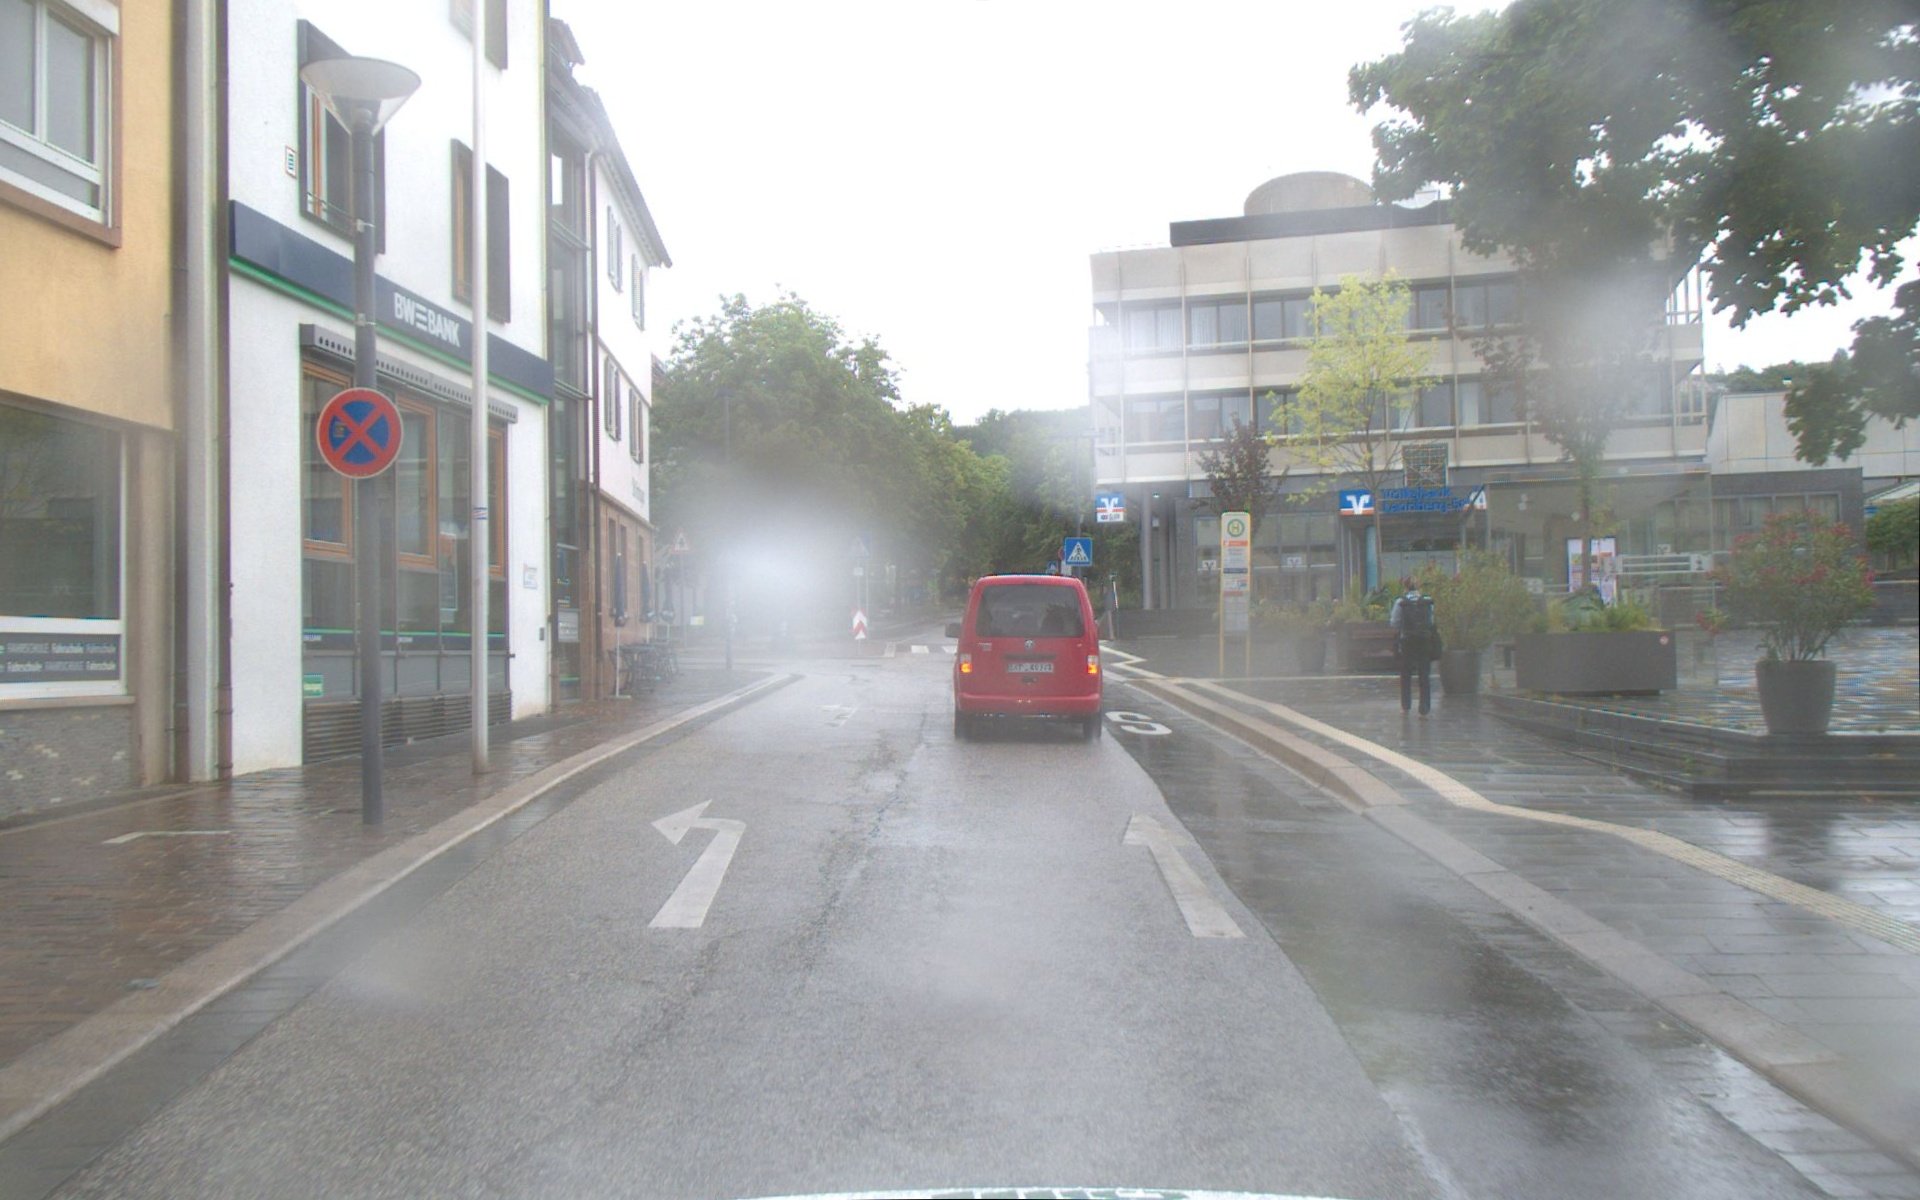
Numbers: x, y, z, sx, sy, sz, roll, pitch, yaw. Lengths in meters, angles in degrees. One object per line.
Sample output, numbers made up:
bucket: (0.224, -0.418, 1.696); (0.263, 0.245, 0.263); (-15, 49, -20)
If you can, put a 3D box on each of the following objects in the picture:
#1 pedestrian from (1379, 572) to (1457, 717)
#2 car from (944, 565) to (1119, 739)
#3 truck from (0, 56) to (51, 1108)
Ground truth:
pedestrian: (5.391, 0.521, 19.512); (0.712, 1.645, 0.694); (-2, -1, 5)
car: (0.765, 0.598, 20.220); (1.824, 1.863, 4.183); (-1, -1, -1)
truck: (-3.665, -0.019, 1.284); (2.424, 2.844, 6.596); (-2, 0, -3)
